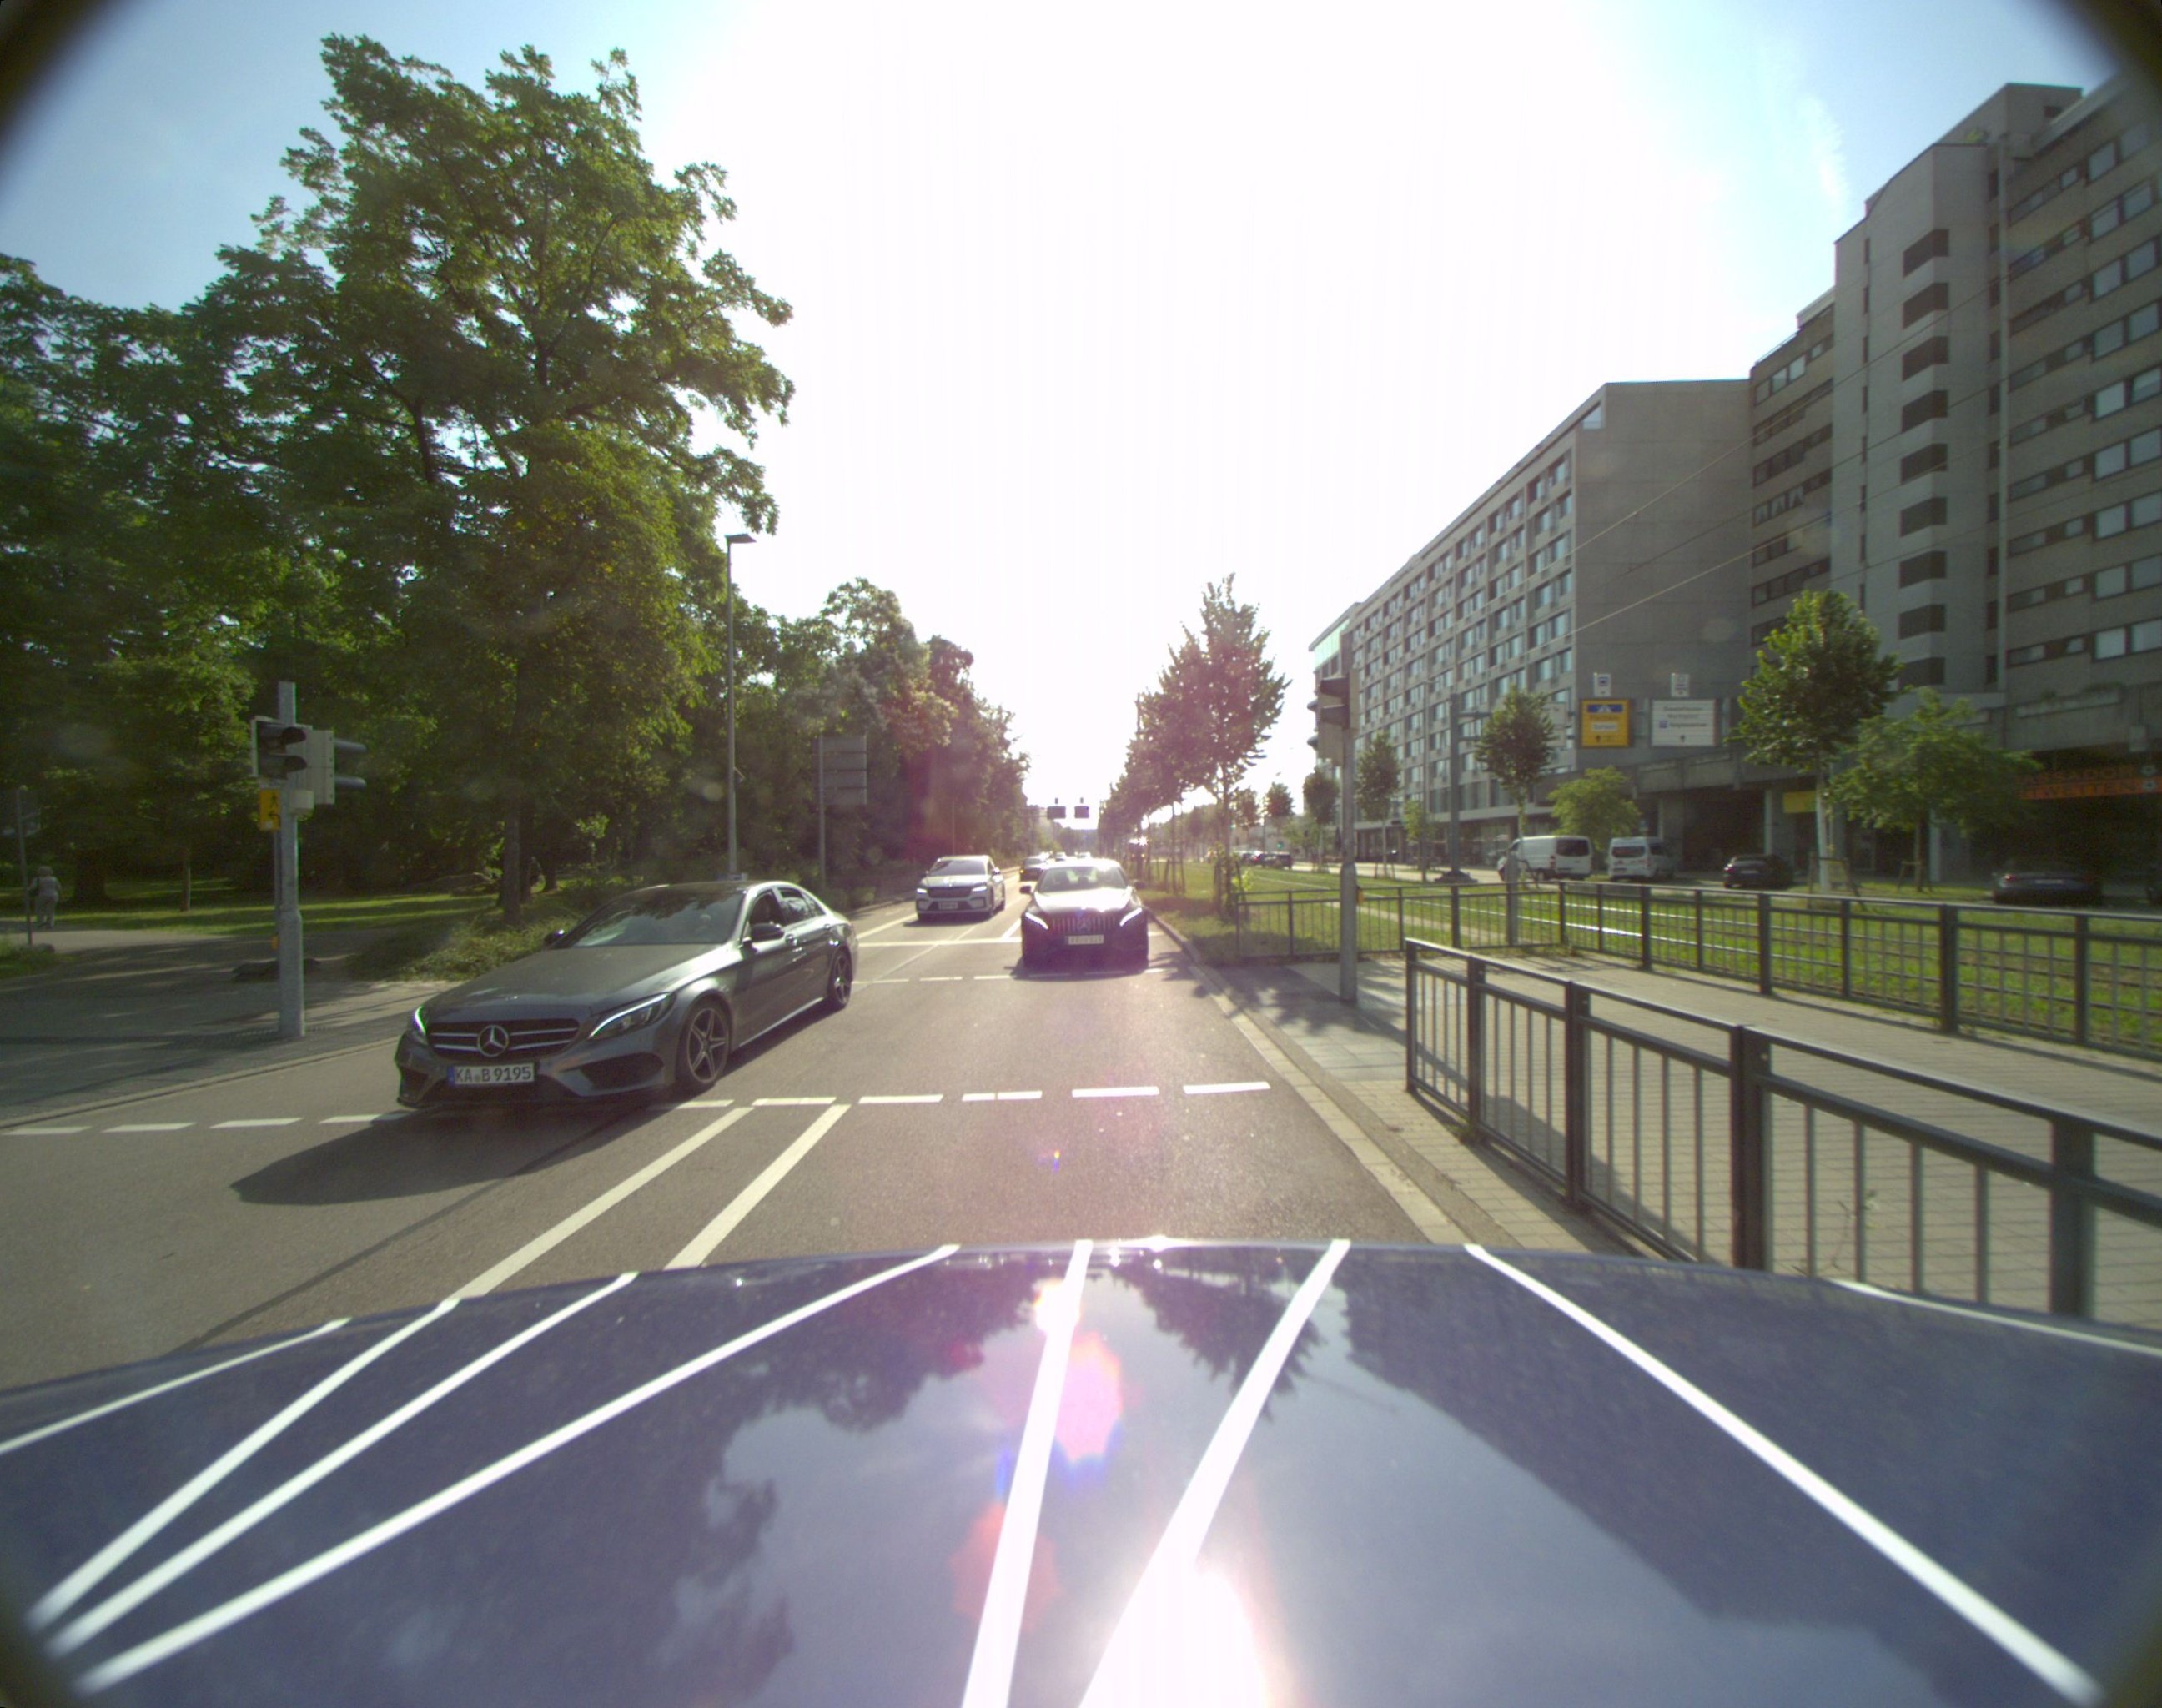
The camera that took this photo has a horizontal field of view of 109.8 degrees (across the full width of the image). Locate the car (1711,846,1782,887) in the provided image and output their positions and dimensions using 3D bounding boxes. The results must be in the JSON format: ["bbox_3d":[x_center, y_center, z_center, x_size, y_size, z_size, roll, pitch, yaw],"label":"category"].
[{"bbox_3d":[29.002,0.515,33.080,2.097,1.573,4.008,-3,0,44],"label":"car"}]

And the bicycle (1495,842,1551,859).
[{"bbox_3d":[37.357,-0.307,64.270,3.994,1.358,1.127,-1,1,10],"label":"bicycle"}]

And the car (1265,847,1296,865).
[{"bbox_3d":[17.504,0.153,66.776,1.812,1.472,4.000,-1,1,3],"label":"car"}]

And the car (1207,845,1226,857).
[{"bbox_3d":[18.179,-0.403,102.003,1.787,1.516,4.000,-1,1,1],"label":"car"}]

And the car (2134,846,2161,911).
[{"bbox_3d":[29.122,0.606,19.703,4.119,1.597,1.874,-1,1,-39],"label":"car"}]

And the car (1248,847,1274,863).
[{"bbox_3d":[17.601,0.103,74.404,1.745,1.478,3.641,-1,1,3],"label":"car"}]

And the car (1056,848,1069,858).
[{"bbox_3d":[-2.846,-0.127,118.724,1.904,1.585,4.000,-1,0,0],"label":"car"}]

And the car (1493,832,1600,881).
[{"bbox_3d":[23.184,0.092,38.111,2.051,2.226,5.333,-1,1,-1],"label":"car"}]

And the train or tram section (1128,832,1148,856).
[{"bbox_3d":[8.436,-1.437,113.121,2.500,3.410,6.669,0,1,1],"label":"train or tram section"}]

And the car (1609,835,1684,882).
[{"bbox_3d":[29.472,0.169,39.544,5.419,2.295,1.879,-1,1,-40],"label":"car"}]

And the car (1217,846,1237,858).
[{"bbox_3d":[17.941,-0.236,93.470,1.812,1.466,4.000,-1,1,3],"label":"car"}]

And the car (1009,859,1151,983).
[{"bbox_3d":[0.025,0.895,12.255,1.760,1.437,4.617,-4,1,1],"label":"car"}]

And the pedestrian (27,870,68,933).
[{"bbox_3d":[-25.689,1.168,18.887,0.668,1.509,0.535,0,1,32],"label":"pedestrian"}]

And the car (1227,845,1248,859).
[{"bbox_3d":[17.725,-0.265,86.261,1.812,1.565,4.000,-1,1,3],"label":"car"}]

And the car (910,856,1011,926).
[{"bbox_3d":[-3.086,0.879,20.295,1.897,1.561,4.250,-2,1,1],"label":"car"}]

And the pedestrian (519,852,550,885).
[{"bbox_3d":[-30.956,0.805,43.031,0.983,1.820,1.072,0,1,31],"label":"pedestrian"}]

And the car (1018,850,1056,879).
[{"bbox_3d":[-2.637,0.612,46.011,1.998,1.630,3.999,-1,1,0],"label":"car"}]

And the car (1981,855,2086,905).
[{"bbox_3d":[29.115,0.756,23.286,4.118,1.237,1.874,-3,1,-39],"label":"car"}]
